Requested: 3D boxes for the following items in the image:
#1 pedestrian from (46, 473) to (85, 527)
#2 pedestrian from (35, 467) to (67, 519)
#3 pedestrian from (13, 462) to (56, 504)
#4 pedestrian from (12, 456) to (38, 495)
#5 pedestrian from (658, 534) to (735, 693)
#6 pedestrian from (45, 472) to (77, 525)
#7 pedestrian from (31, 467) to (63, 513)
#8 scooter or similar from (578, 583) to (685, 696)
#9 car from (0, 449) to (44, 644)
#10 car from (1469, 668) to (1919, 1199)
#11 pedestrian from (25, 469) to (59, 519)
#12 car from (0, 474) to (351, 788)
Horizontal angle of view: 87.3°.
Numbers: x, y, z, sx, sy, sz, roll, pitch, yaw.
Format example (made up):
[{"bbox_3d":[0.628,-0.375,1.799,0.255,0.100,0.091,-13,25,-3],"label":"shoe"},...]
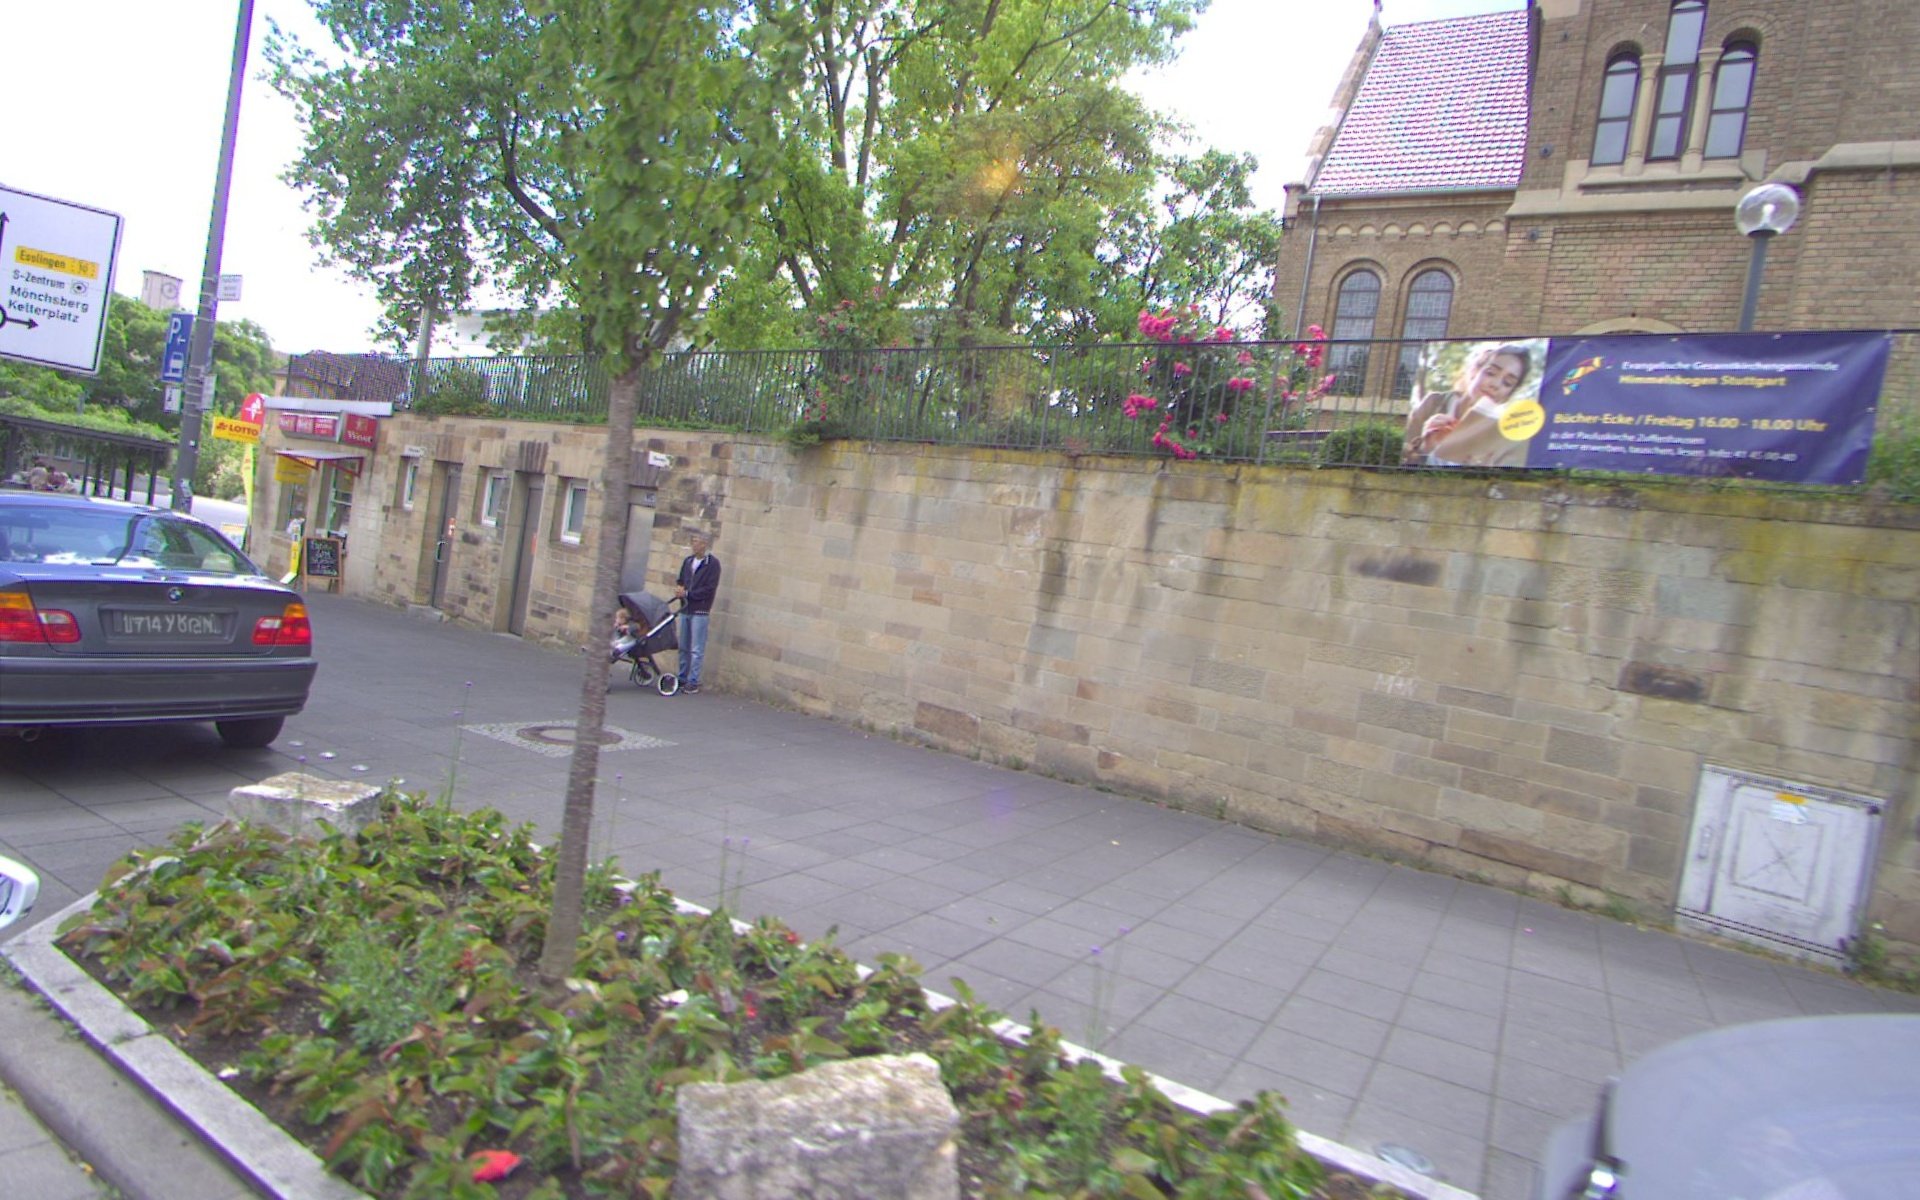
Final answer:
[{"bbox_3d":[-24.337,-2.725,27.363,0.577,1.338,0.615,12,4,39],"label":"pedestrian"},{"bbox_3d":[-25.396,-2.990,28.102,0.517,1.338,0.497,12,4,41],"label":"pedestrian"},{"bbox_3d":[-31.936,-4.038,34.723,0.759,1.284,0.674,8,1,-16],"label":"pedestrian"},{"bbox_3d":[-34.780,-4.617,37.425,0.566,1.340,0.538,8,1,-44],"label":"pedestrian"},{"bbox_3d":[-2.861,0.148,10.912,0.500,1.667,0.472,7,2,43],"label":"pedestrian"},{"bbox_3d":[-24.836,-2.807,27.793,0.566,1.338,0.494,12,4,40],"label":"pedestrian"},{"bbox_3d":[-29.047,-3.499,32.002,0.538,1.324,0.623,10,3,40],"label":"pedestrian"},{"bbox_3d":[-3.401,0.414,10.432,0.553,1.086,0.810,7,1,43],"label":"scooter or similar"},{"bbox_3d":[-10.909,-0.778,9.633,4.498,1.746,1.931,8,0,32],"label":"car"},{"bbox_3d":[2.650,1.031,0.739,4.020,1.459,1.757,6,0,29],"label":"car"},{"bbox_3d":[-26.012,-3.003,28.505,0.533,1.278,0.567,12,4,40],"label":"pedestrian"},{"bbox_3d":[-5.828,0.022,6.293,4.301,1.434,1.682,6,-1,33],"label":"car"}]
